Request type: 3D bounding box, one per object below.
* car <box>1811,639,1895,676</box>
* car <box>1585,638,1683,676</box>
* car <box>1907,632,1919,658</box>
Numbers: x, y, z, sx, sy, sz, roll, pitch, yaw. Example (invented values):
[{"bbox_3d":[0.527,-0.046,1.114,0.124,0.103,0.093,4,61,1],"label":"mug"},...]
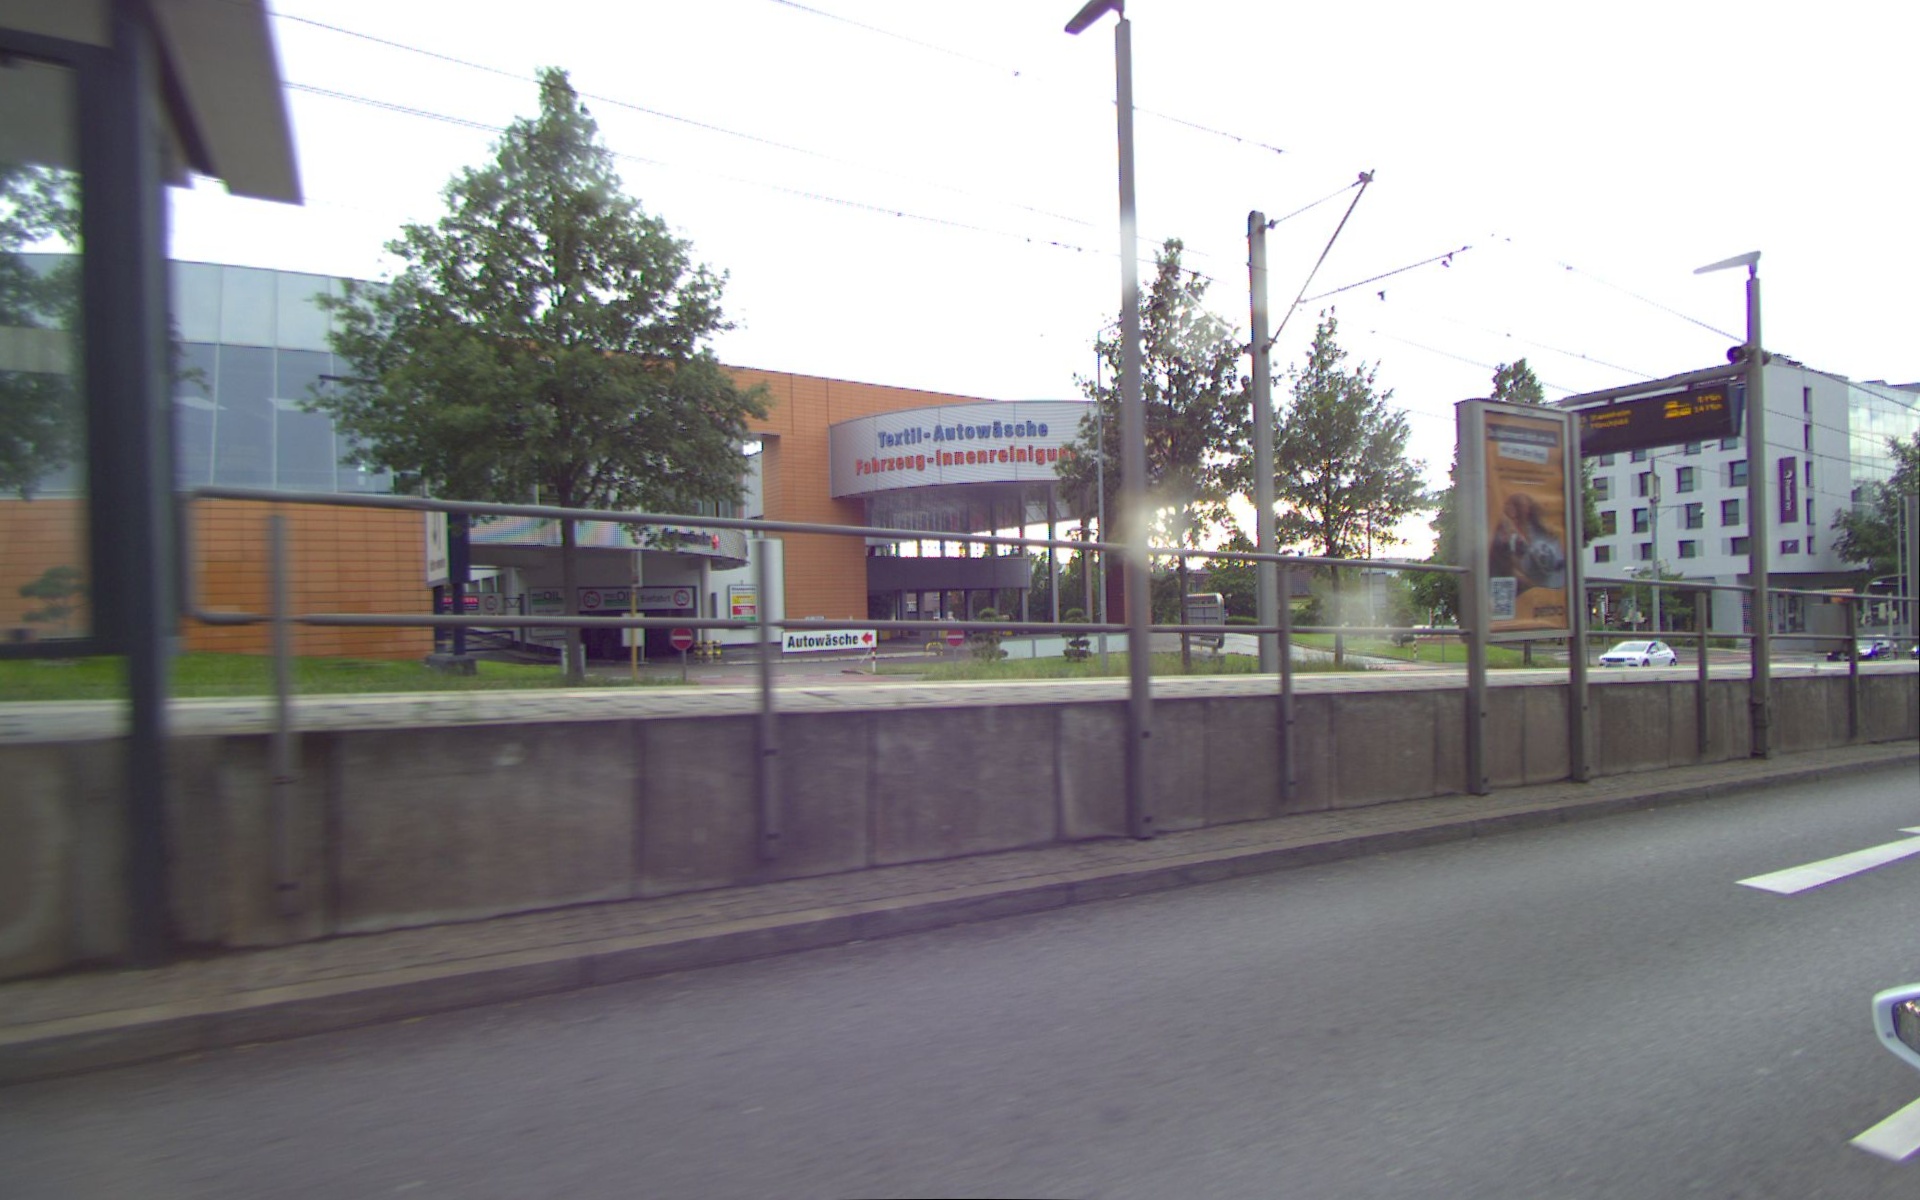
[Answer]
[{"bbox_3d":[45.679,2.901,51.370,4.337,1.798,1.984,1,-1,-30],"label":"car"},{"bbox_3d":[30.723,2.574,45.741,4.656,1.538,1.982,2,0,-32],"label":"car"},{"bbox_3d":[56.353,2.559,57.690,4.341,1.446,1.843,1,-3,-33],"label":"car"}]
